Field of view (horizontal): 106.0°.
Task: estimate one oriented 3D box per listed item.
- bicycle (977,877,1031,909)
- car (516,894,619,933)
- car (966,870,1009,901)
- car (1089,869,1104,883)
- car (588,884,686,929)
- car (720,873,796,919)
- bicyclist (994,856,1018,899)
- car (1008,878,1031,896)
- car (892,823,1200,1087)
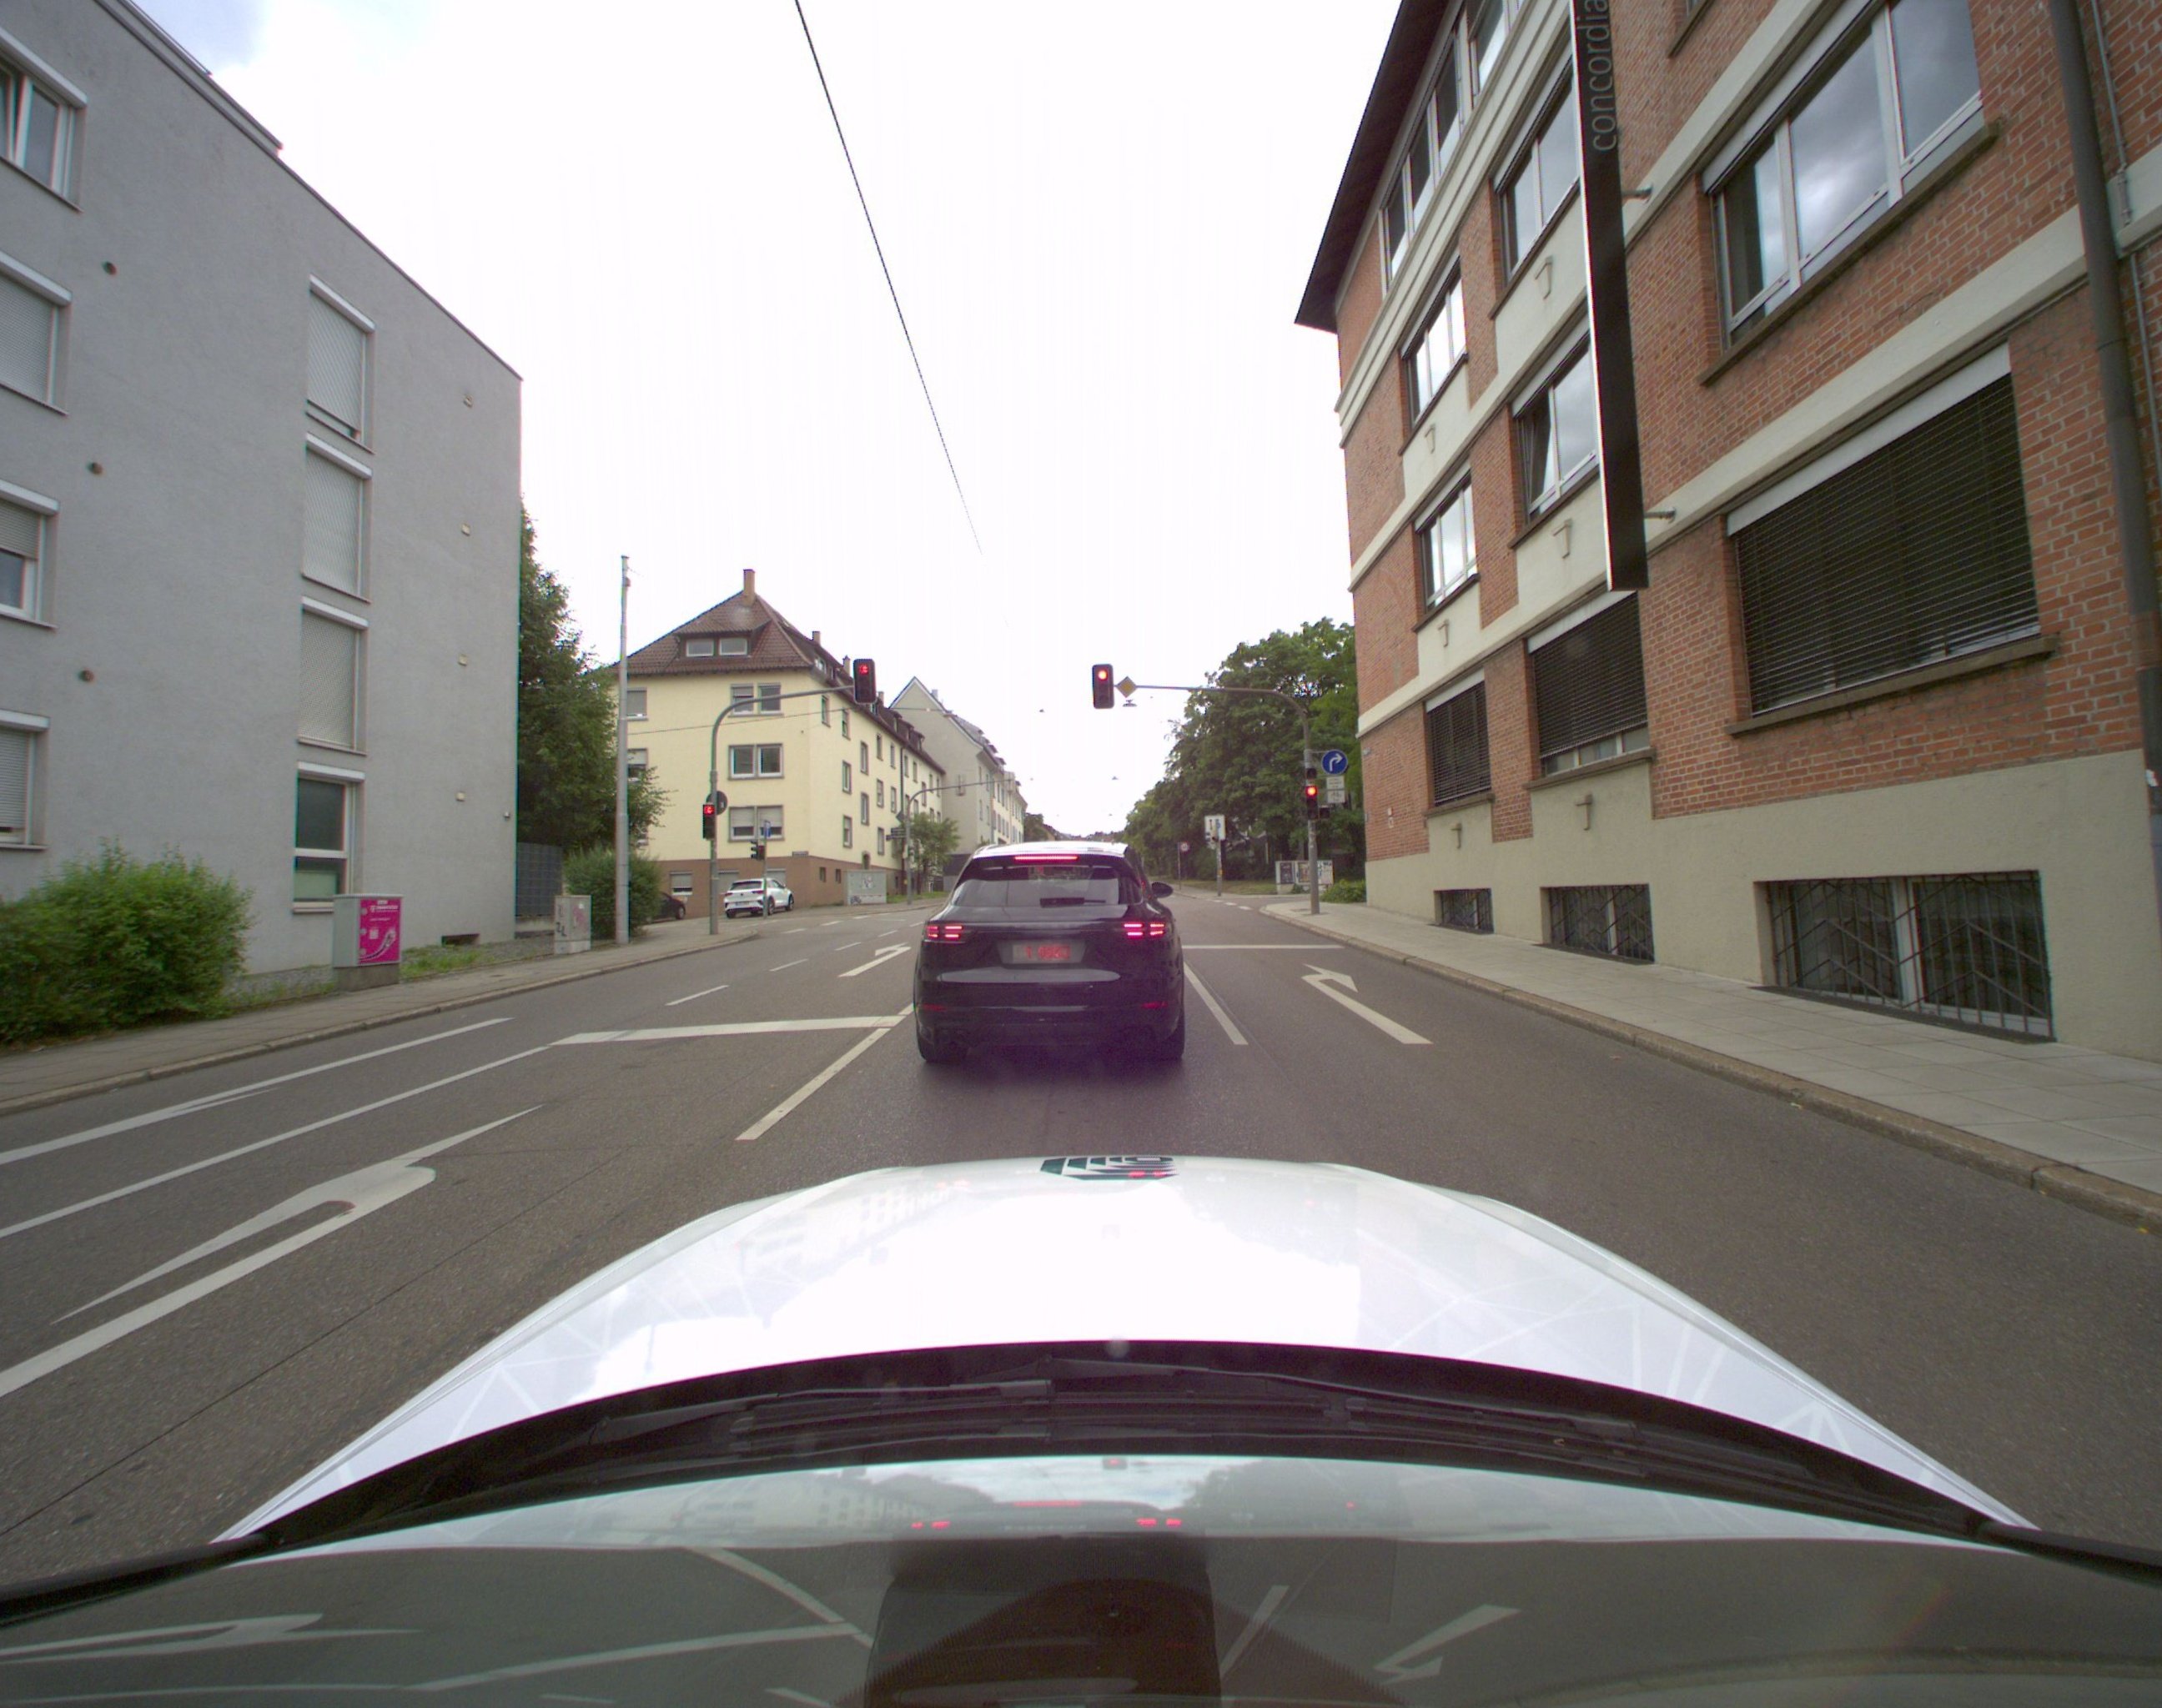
[{"bbox_3d":[-2.783,1.398,29.406,1.905,1.081,0.701,0,-1,-10],"label":"bicycle"},{"bbox_3d":[-21.410,2.449,34.133,1.663,1.362,4.001,-1,-1,2],"label":"car"},{"bbox_3d":[-5.210,1.744,45.788,1.657,1.519,3.742,-5,-1,2],"label":"car"},{"bbox_3d":[1.862,2.584,97.649,1.683,1.552,3.888,0,-1,0],"label":"car"},{"bbox_3d":[-18.620,2.164,34.391,1.664,1.546,4.103,-5,-1,2],"label":"car"},{"bbox_3d":[-13.559,1.724,34.409,1.666,1.662,3.996,-4,0,-3],"label":"car"},{"bbox_3d":[-2.727,0.853,29.422,0.809,1.519,0.704,0,-1,-9],"label":"bicyclist"},{"bbox_3d":[-5.267,2.802,69.797,1.665,1.362,3.998,-1,-1,-1],"label":"car"},{"bbox_3d":[-0.166,0.671,7.284,1.986,1.697,4.001,0,-1,2],"label":"car"}]
